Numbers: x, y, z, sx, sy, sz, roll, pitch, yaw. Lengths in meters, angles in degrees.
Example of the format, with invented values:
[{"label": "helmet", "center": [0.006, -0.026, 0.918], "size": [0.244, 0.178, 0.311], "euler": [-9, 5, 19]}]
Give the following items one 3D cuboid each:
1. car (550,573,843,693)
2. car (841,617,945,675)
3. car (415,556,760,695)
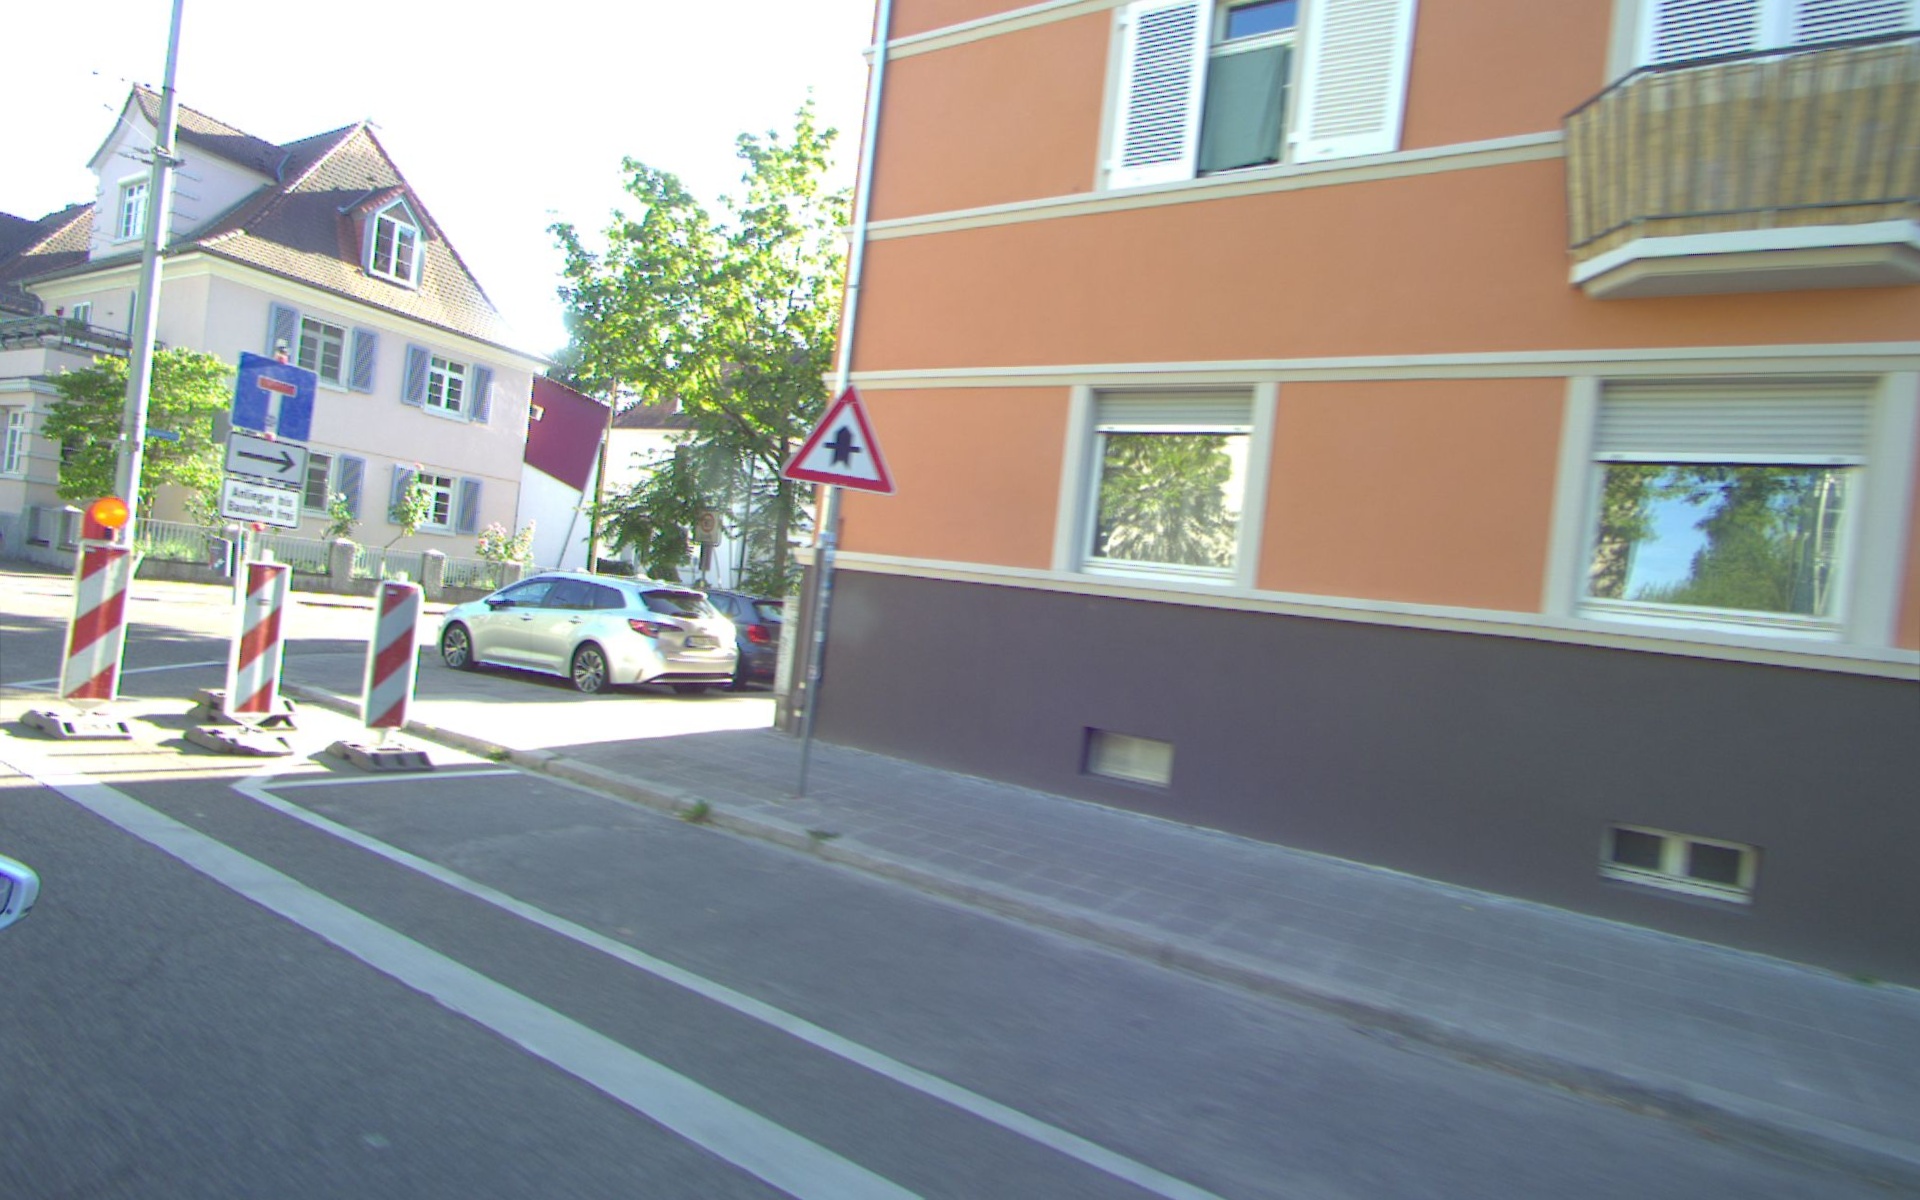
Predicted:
[{"label": "car", "center": [-4.201, 0.481, 15.844], "size": [4.441, 1.476, 1.776], "euler": [4, -1, 30]}, {"label": "car", "center": [-2.399, 1.733, 37.059], "size": [1.877, 1.669, 4.000], "euler": [7, -2, 27]}, {"label": "car", "center": [-4.902, 0.285, 13.067], "size": [4.441, 1.406, 1.705], "euler": [4, -1, 30]}]
